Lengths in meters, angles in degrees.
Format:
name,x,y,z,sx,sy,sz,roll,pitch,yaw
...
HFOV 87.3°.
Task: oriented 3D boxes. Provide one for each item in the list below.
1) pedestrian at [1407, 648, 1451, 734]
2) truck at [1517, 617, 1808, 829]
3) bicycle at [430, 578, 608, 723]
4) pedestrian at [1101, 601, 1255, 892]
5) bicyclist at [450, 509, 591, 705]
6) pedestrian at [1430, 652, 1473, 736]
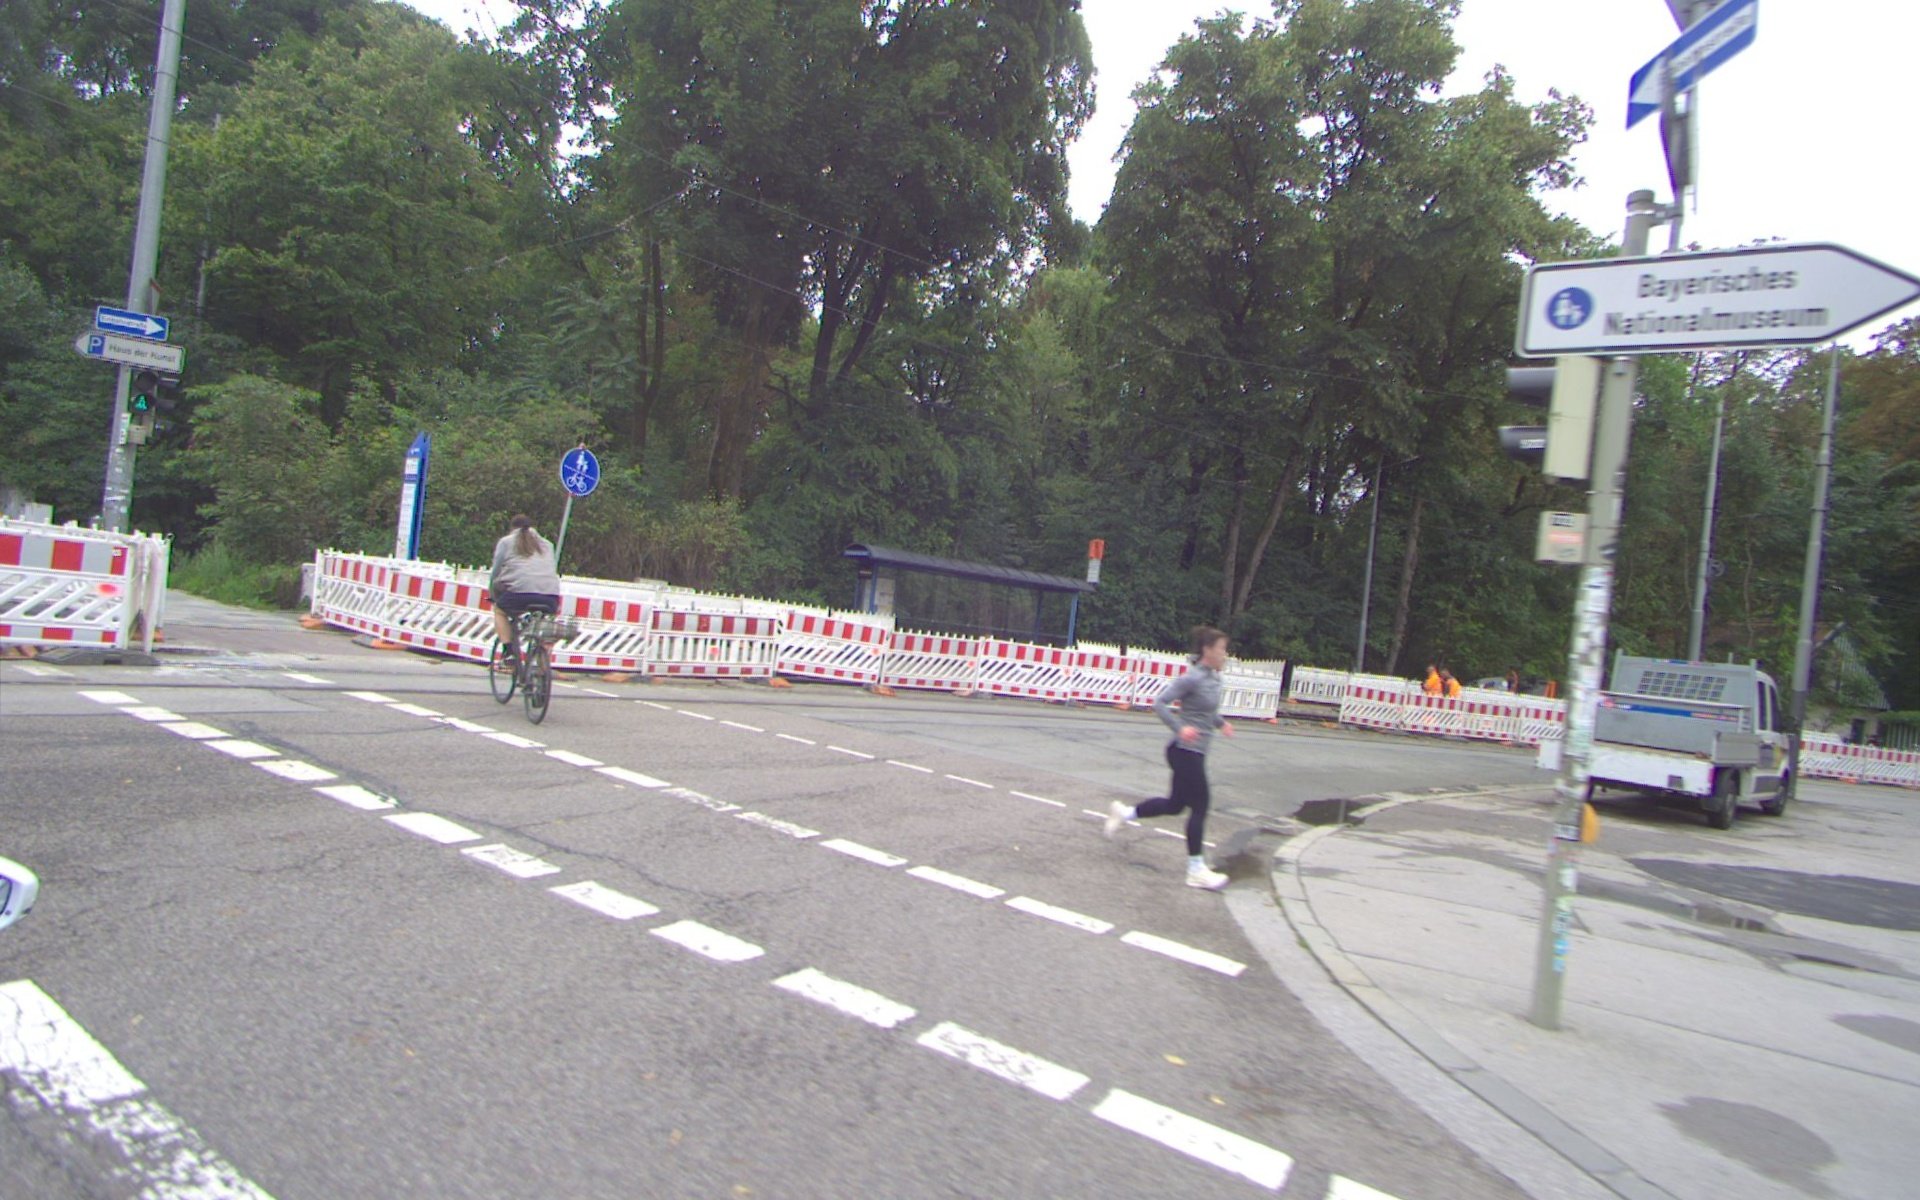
name,x,y,z,sx,sy,sz,roll,pitch,yaw
pedestrian,12.235,2.365,26.240,0.683,2.133,0.557,8,-1,-39
truck,11.050,1.955,15.587,5.900,2.523,2.267,10,-2,-42
bicycle,-4.171,0.439,9.412,0.736,1.070,2.136,9,-2,-44
pedestrian,1.507,0.975,7.067,0.759,1.785,1.069,7,-1,11
bicyclist,-4.110,0.055,9.393,0.755,1.686,0.888,8,-1,-44
pedestrian,13.182,2.528,26.982,0.683,2.133,0.557,8,-1,-37
